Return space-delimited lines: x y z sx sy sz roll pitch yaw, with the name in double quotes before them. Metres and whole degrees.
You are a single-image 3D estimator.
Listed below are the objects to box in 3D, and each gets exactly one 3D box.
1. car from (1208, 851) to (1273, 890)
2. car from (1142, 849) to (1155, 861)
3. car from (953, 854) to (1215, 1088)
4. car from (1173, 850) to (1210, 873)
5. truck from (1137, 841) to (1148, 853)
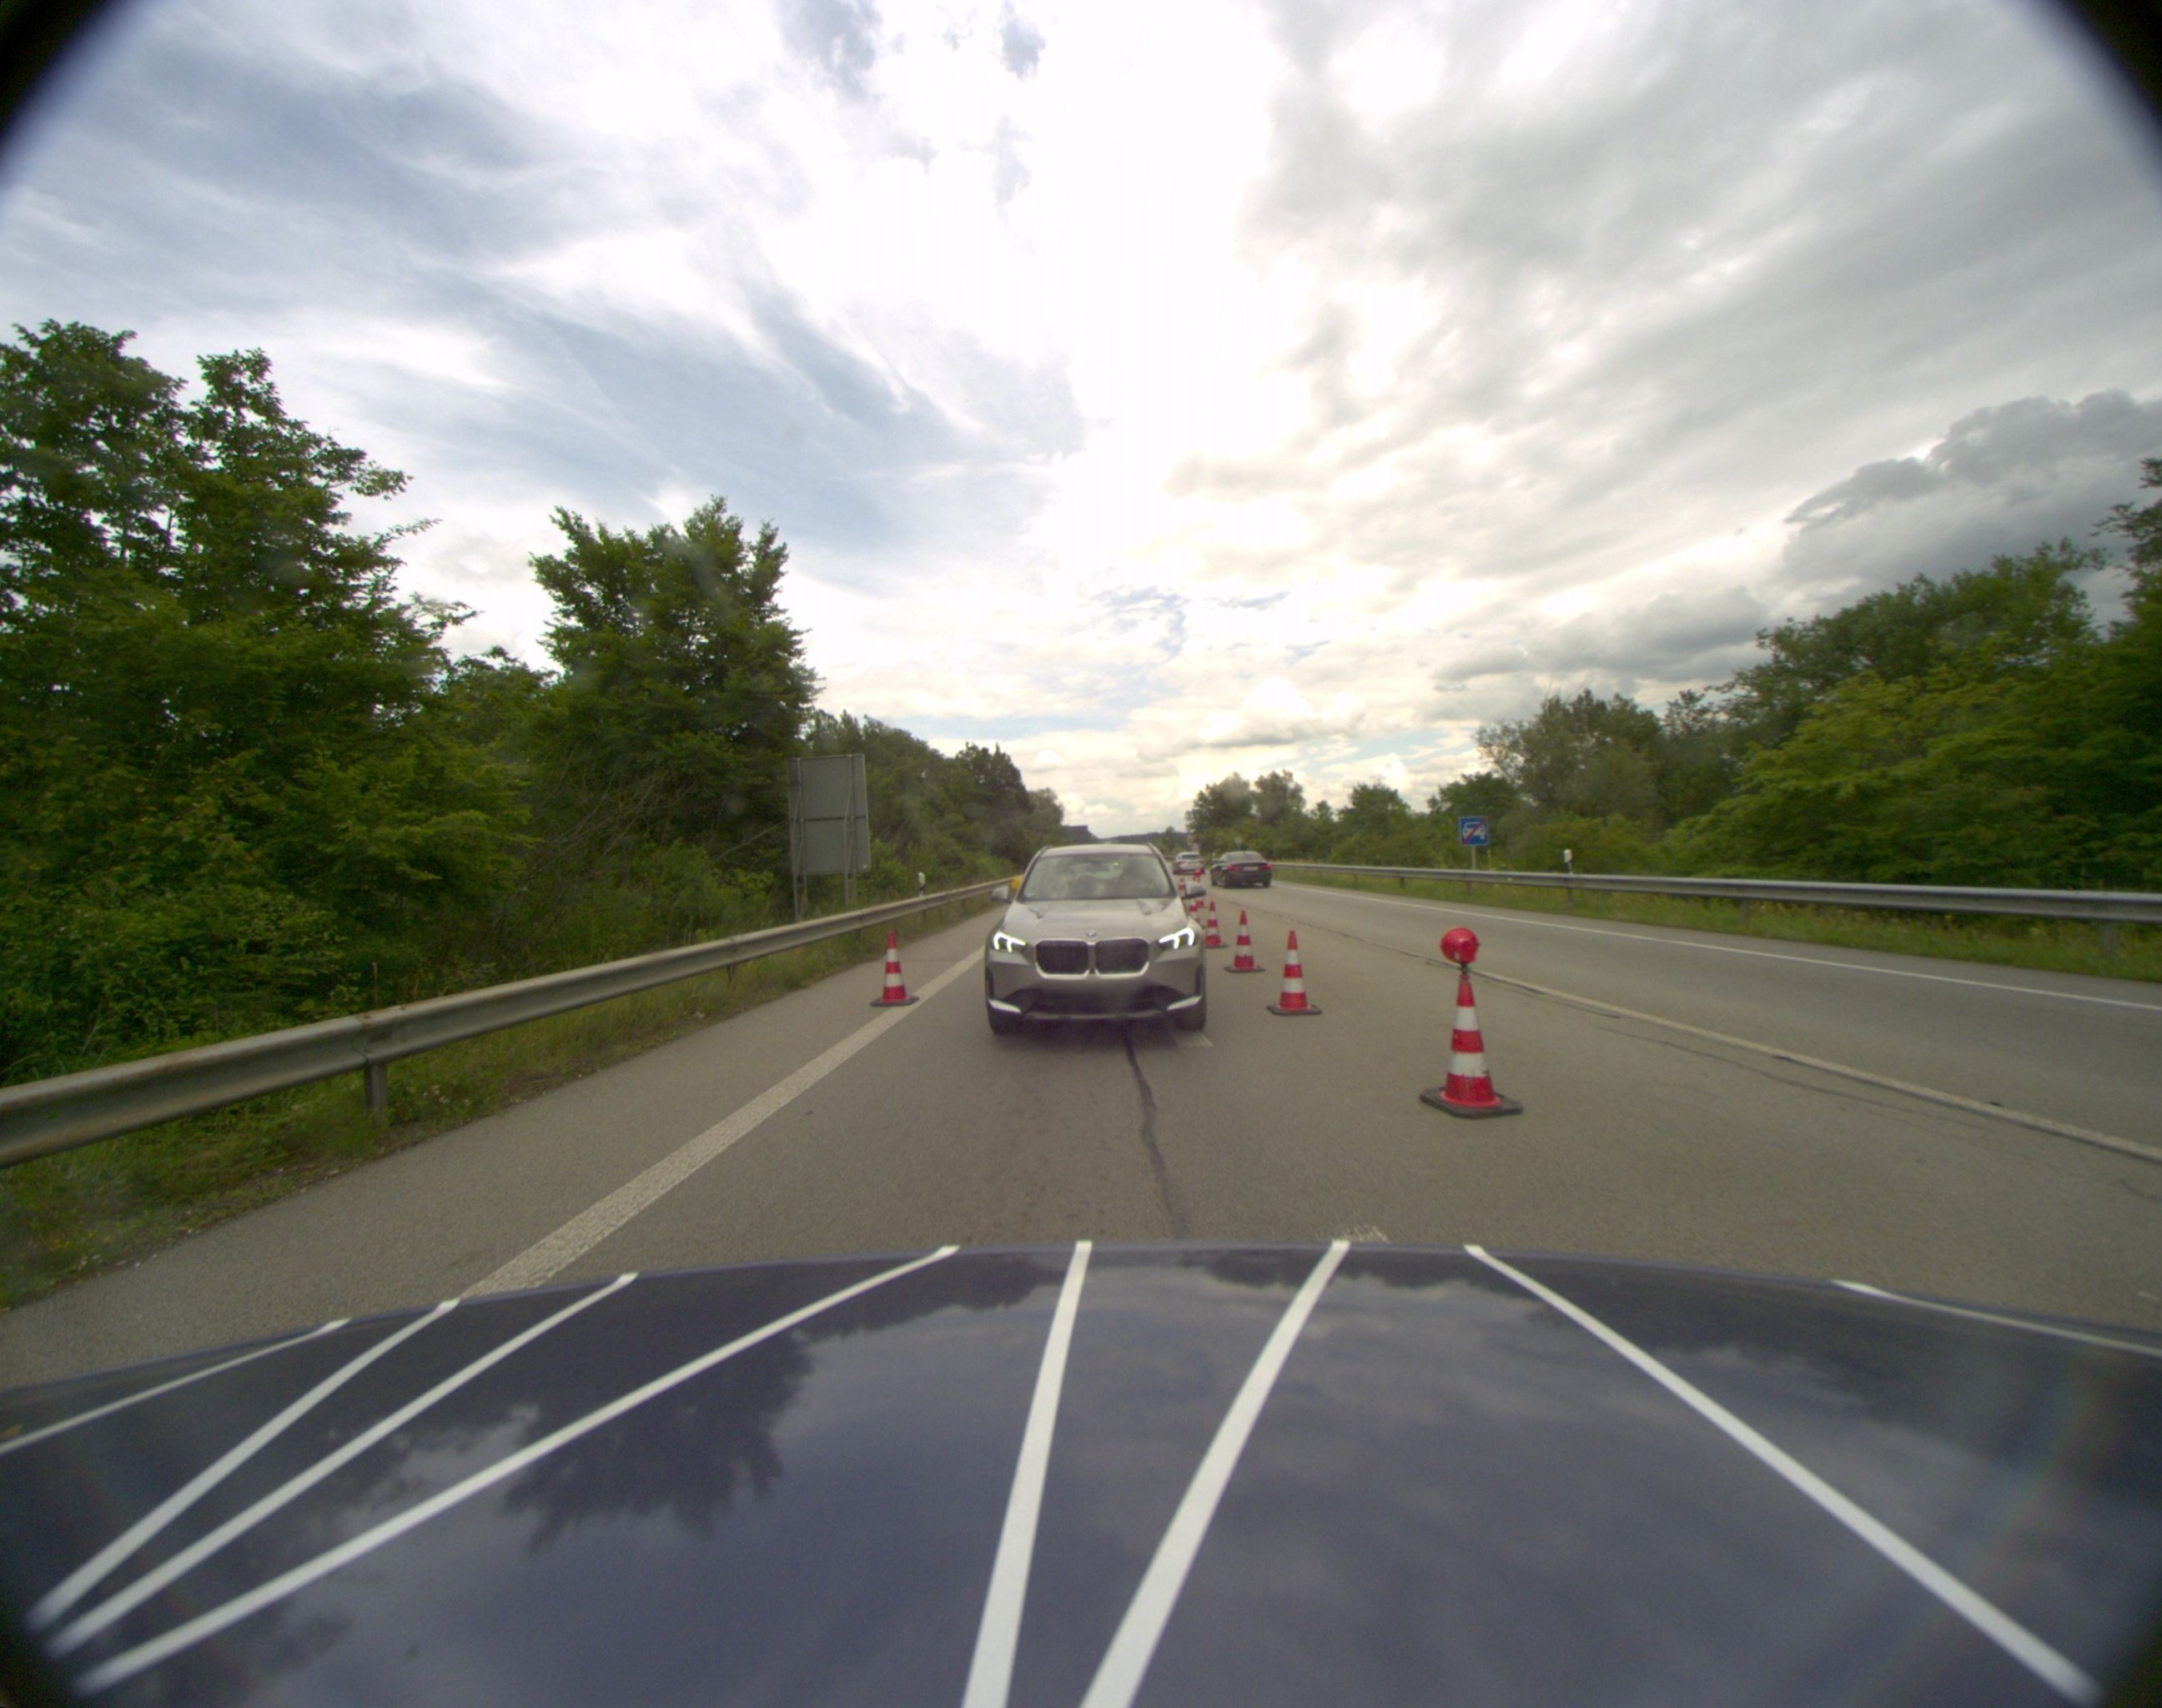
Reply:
"car" 6.427 0.610 31.078 1.713 1.428 4.336 -2 0 0
"car" 11.865 0.199 133.801 2.034 1.976 5.316 -2 0 3
"car" 0.143 0.841 7.611 1.817 1.598 4.434 -2 0 3
"car" 7.215 0.456 49.882 1.683 1.393 4.373 -2 0 -1
"truck" 19.805 -2.240 244.194 3.113 3.682 9.545 -2 0 3
